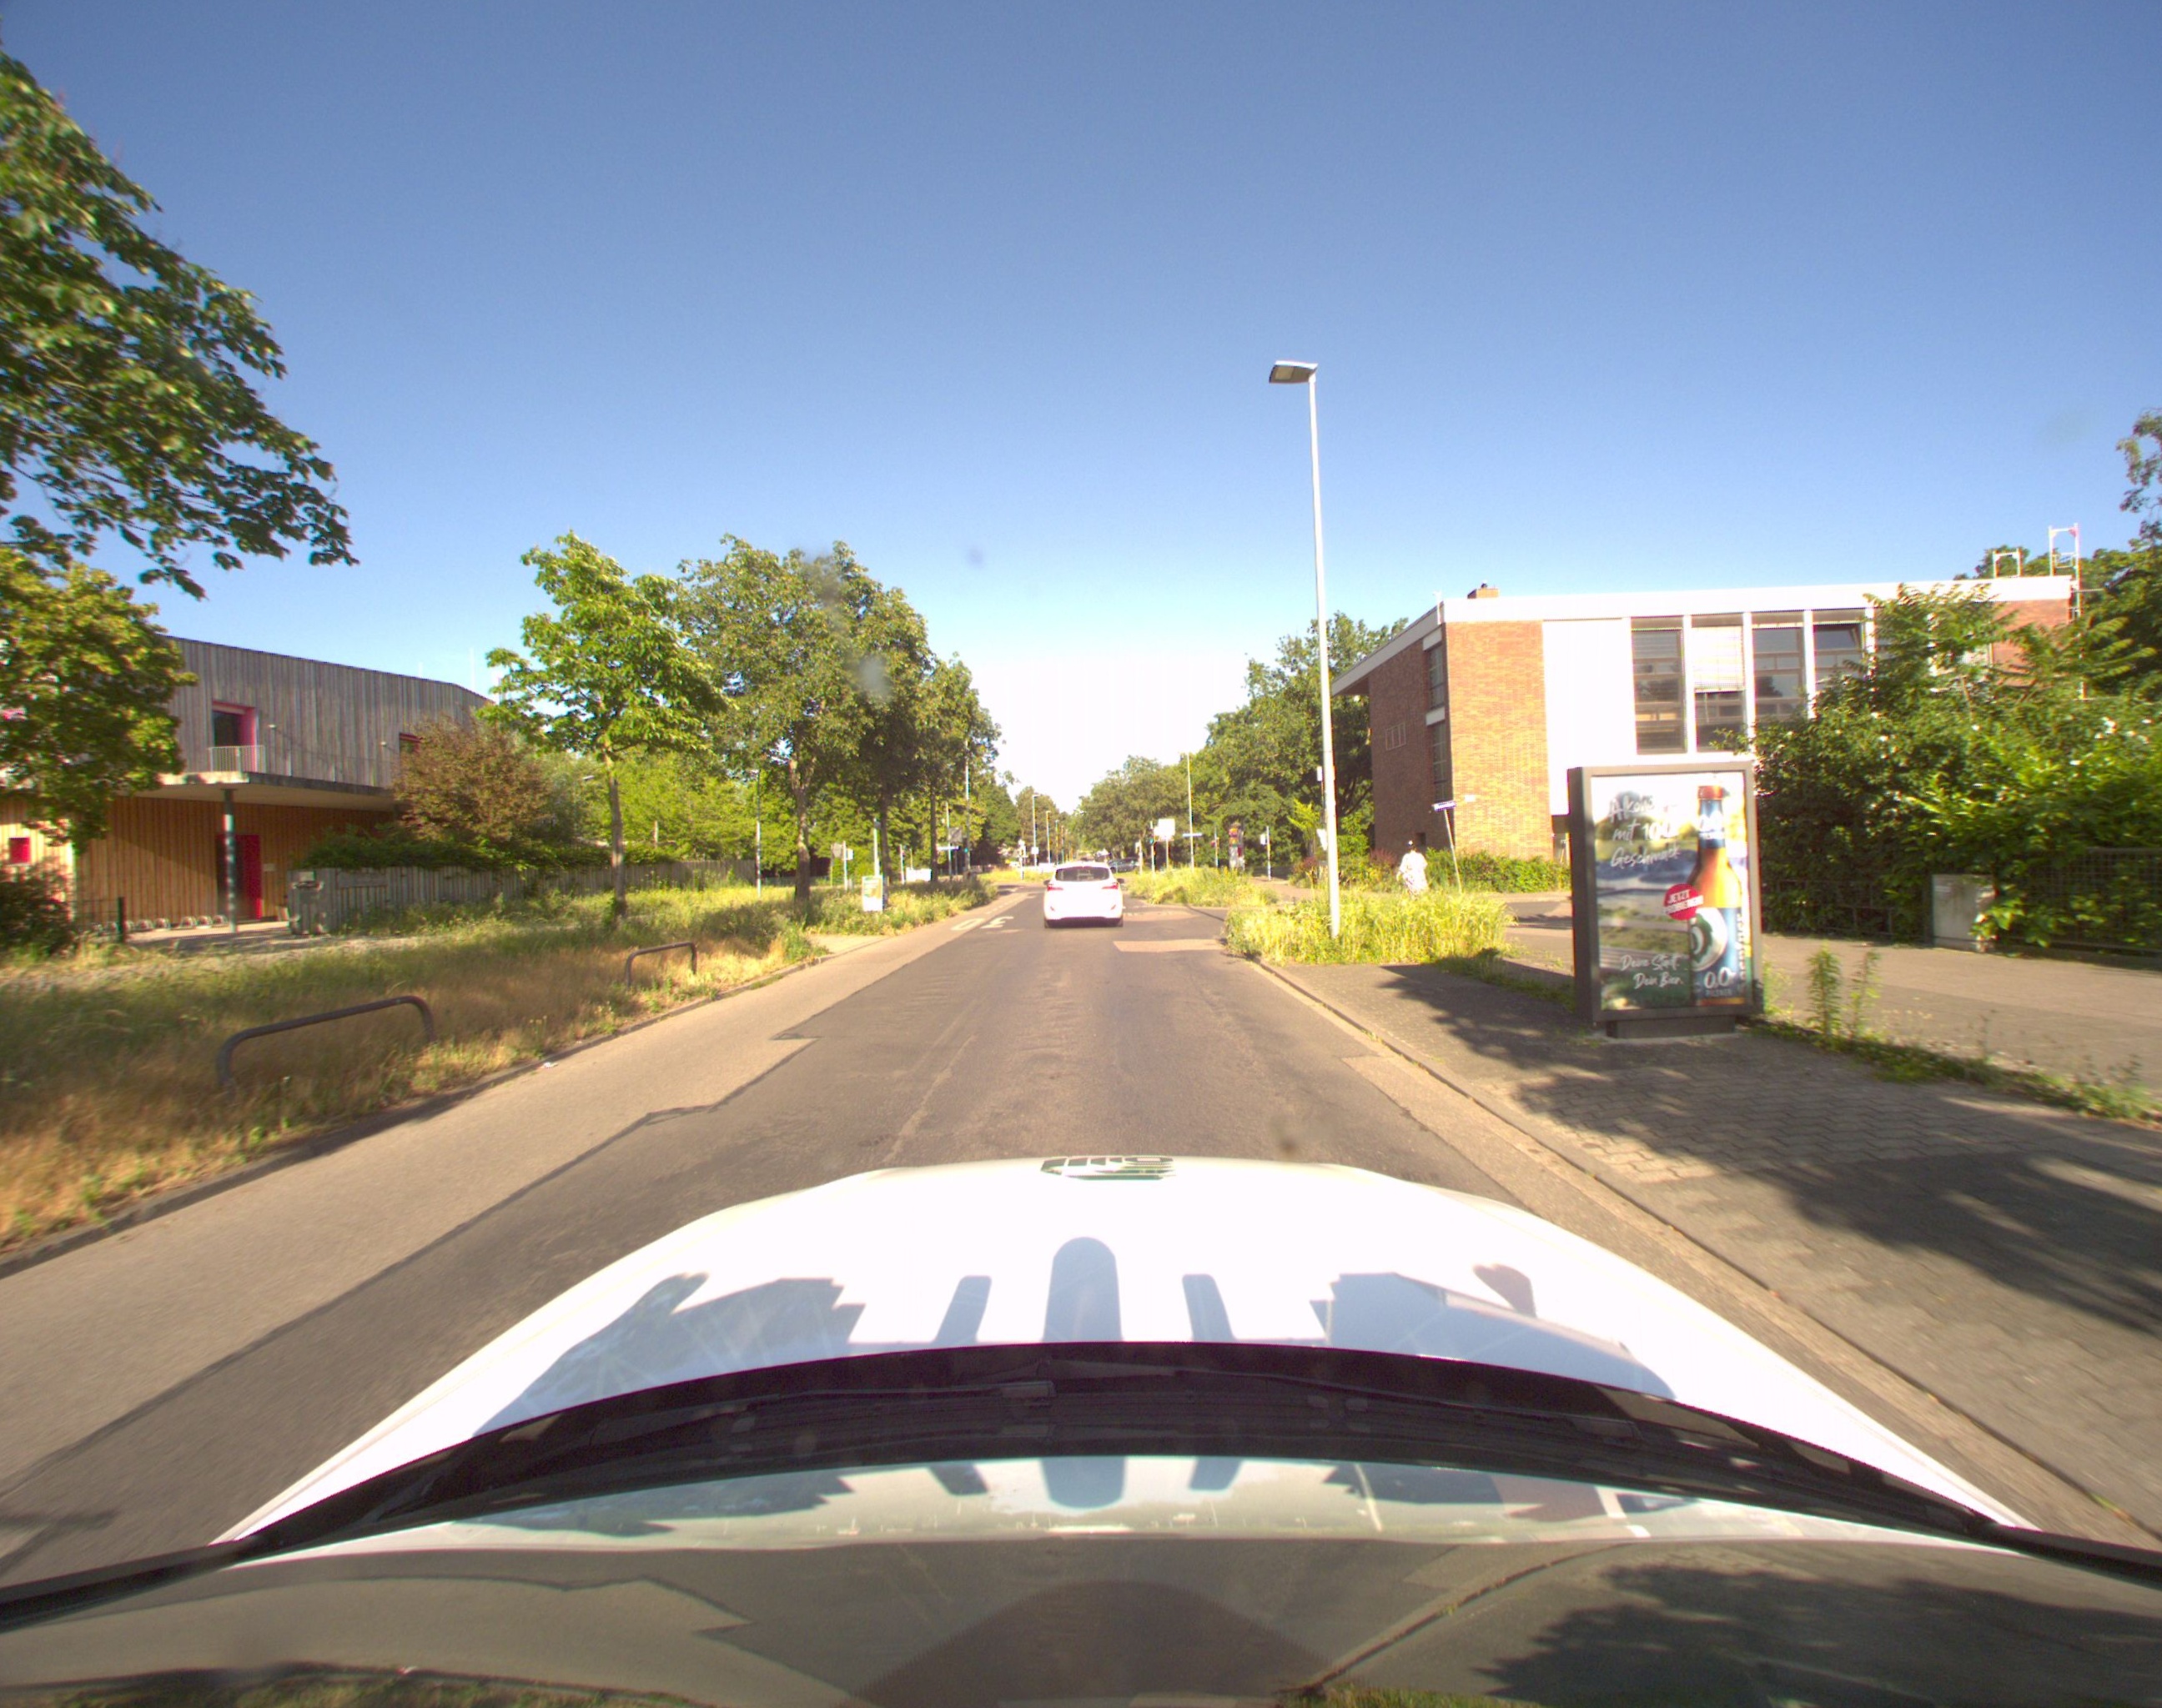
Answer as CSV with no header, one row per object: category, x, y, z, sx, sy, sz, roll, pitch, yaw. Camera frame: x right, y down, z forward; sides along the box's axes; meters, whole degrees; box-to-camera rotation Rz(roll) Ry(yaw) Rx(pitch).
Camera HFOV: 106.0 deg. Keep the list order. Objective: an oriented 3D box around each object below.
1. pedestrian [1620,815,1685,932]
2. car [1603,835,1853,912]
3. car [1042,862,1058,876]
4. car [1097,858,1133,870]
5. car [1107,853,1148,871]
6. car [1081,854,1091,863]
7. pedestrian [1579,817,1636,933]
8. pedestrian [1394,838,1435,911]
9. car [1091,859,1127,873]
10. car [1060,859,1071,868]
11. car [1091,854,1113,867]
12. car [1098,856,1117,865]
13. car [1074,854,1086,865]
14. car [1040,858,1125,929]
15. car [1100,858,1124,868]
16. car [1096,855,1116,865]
pedestrian,8.728,0.296,12.462,0.601,1.732,0.642,-1,-1,17
car,14.466,0.411,18.385,4.180,1.502,1.806,-2,1,0
car,-4.437,2.126,116.923,1.987,1.816,4.001,-1,0,1
car,5.263,1.542,128.017,5.595,1.684,1.948,-1,-1,0
car,5.302,0.920,92.666,4.480,1.783,1.856,-2,-1,2
car,1.139,0.971,180.257,1.987,1.816,4.000,-1,-1,1
pedestrian,8.152,0.321,12.631,0.550,1.732,0.664,-1,-1,17
pedestrian,8.515,0.514,20.811,0.892,1.822,0.740,-1,-1,20
car,3.634,1.570,104.668,4.480,1.630,1.856,-2,-1,2
car,-3.173,1.950,165.122,1.987,1.816,4.000,-1,0,1
car,3.738,1.153,144.745,3.806,2.098,1.863,-1,-1,0
car,5.475,1.372,168.914,3.806,1.767,1.863,-1,-1,0
car,-0.170,0.946,136.448,1.987,1.816,3.999,1,0,0
car,0.051,0.861,19.518,1.783,1.463,3.963,-2,0,0
car,5.091,1.487,134.701,3.806,1.684,1.863,-1,-1,0
car,5.279,1.256,172.064,4.287,1.908,1.863,-1,-1,0
